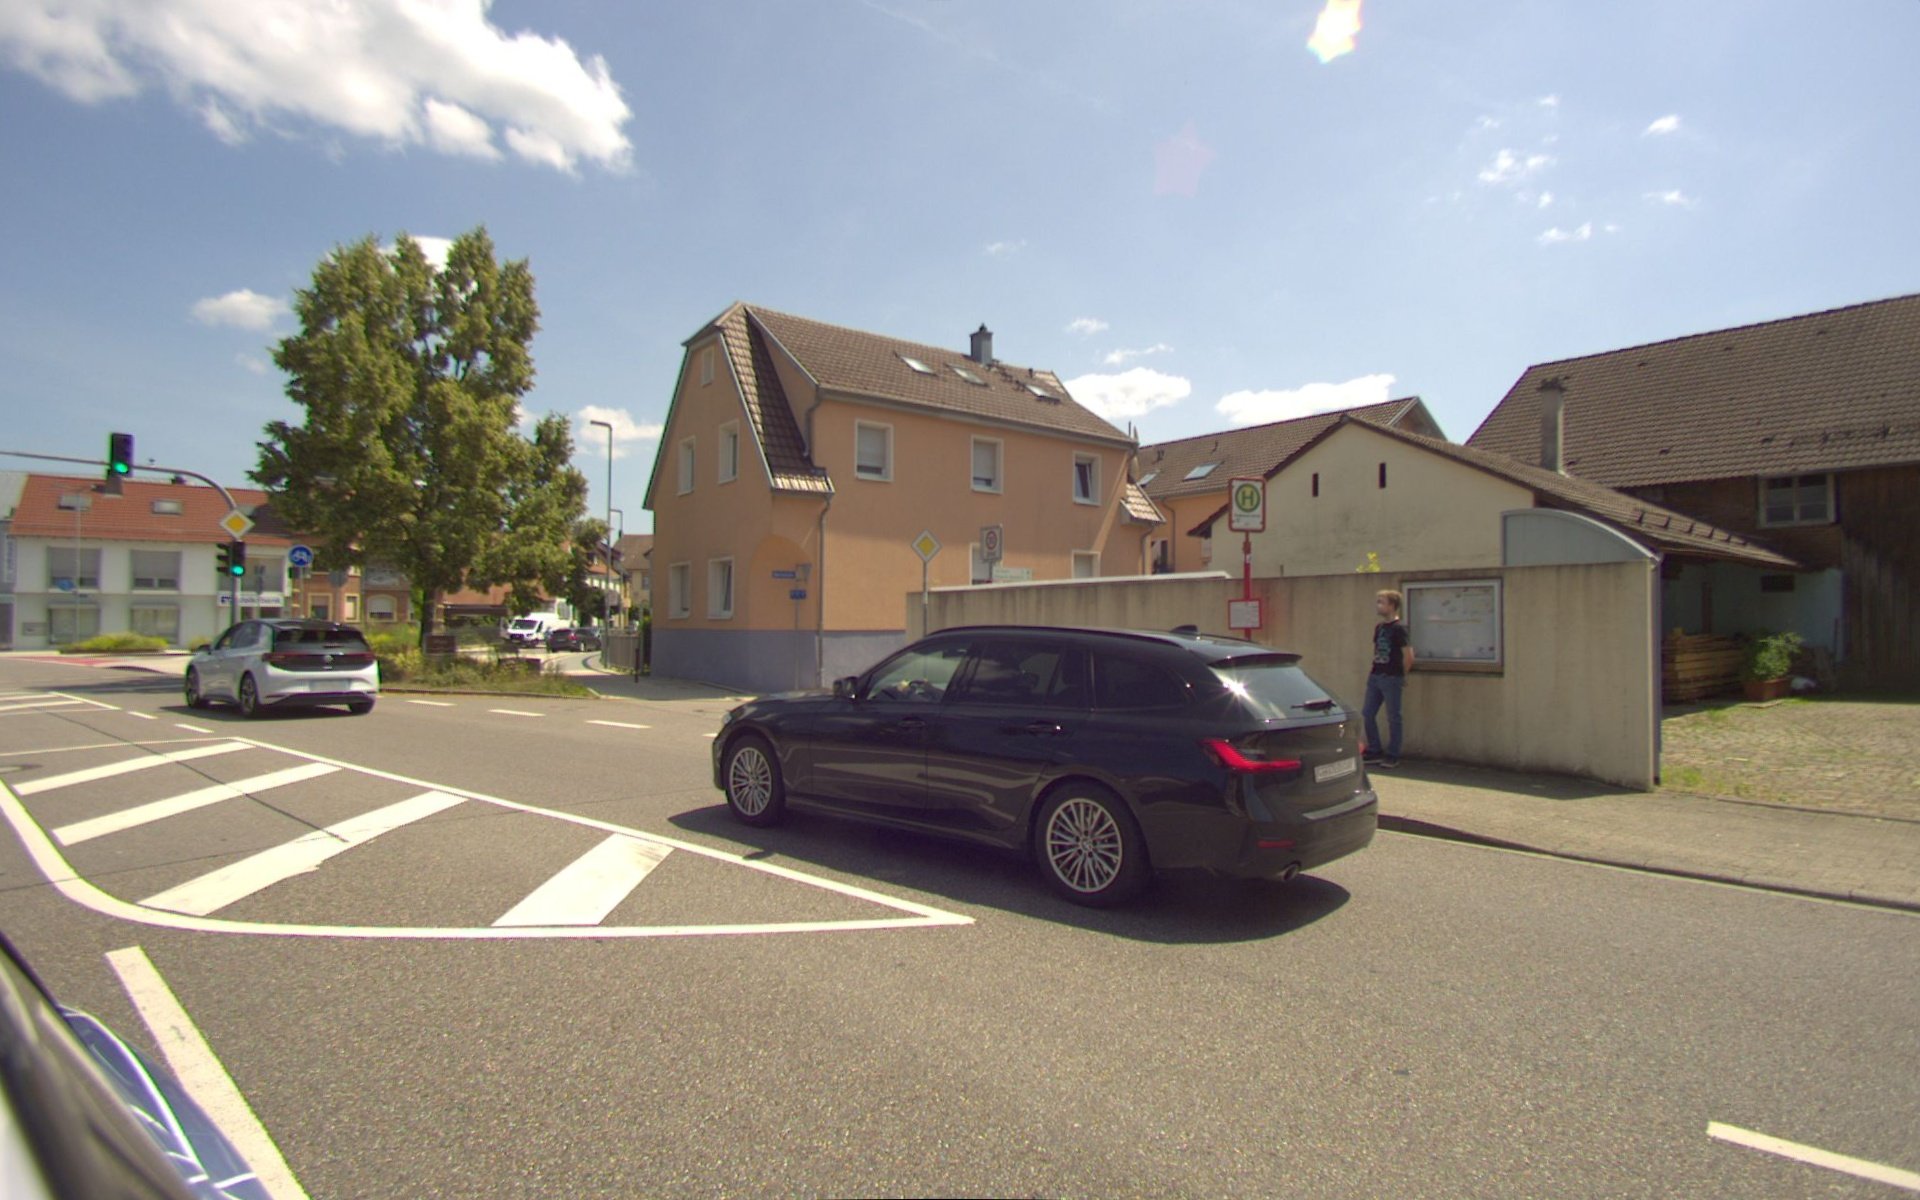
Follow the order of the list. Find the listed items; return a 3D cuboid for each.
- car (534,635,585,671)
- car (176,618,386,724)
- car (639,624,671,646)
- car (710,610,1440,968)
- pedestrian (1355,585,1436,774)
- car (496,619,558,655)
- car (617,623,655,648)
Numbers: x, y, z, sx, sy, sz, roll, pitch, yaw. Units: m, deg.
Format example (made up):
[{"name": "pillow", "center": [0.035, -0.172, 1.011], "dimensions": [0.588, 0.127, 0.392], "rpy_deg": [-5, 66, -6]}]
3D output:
[{"name": "car", "center": [-23.426, 3.047, 59.304], "dimensions": [1.968, 2.029, 4.008], "rpy_deg": [0, -2, -10]}, {"name": "car", "center": [-11.340, 1.098, 16.804], "dimensions": [4.130, 1.519, 1.777], "rpy_deg": [-1, -3, 40]}, {"name": "car", "center": [-24.606, 2.832, 81.846], "dimensions": [2.035, 1.741, 4.009], "rpy_deg": [2, -2, -11]}, {"name": "car", "center": [0.436, 0.849, 6.431], "dimensions": [4.421, 1.504, 1.774], "rpy_deg": [-1, -3, 43]}, {"name": "pedestrian", "center": [4.262, 0.761, 9.927], "dimensions": [0.428, 1.778, 0.558], "rpy_deg": [1, -3, -30]}, {"name": "car", "center": [-30.388, 2.615, 71.197], "dimensions": [2.142, 2.363, 5.112], "rpy_deg": [1, -2, -1]}, {"name": "car", "center": [-32.672, 3.574, 102.203], "dimensions": [2.142, 2.363, 5.112], "rpy_deg": [1, -2, -1]}]
